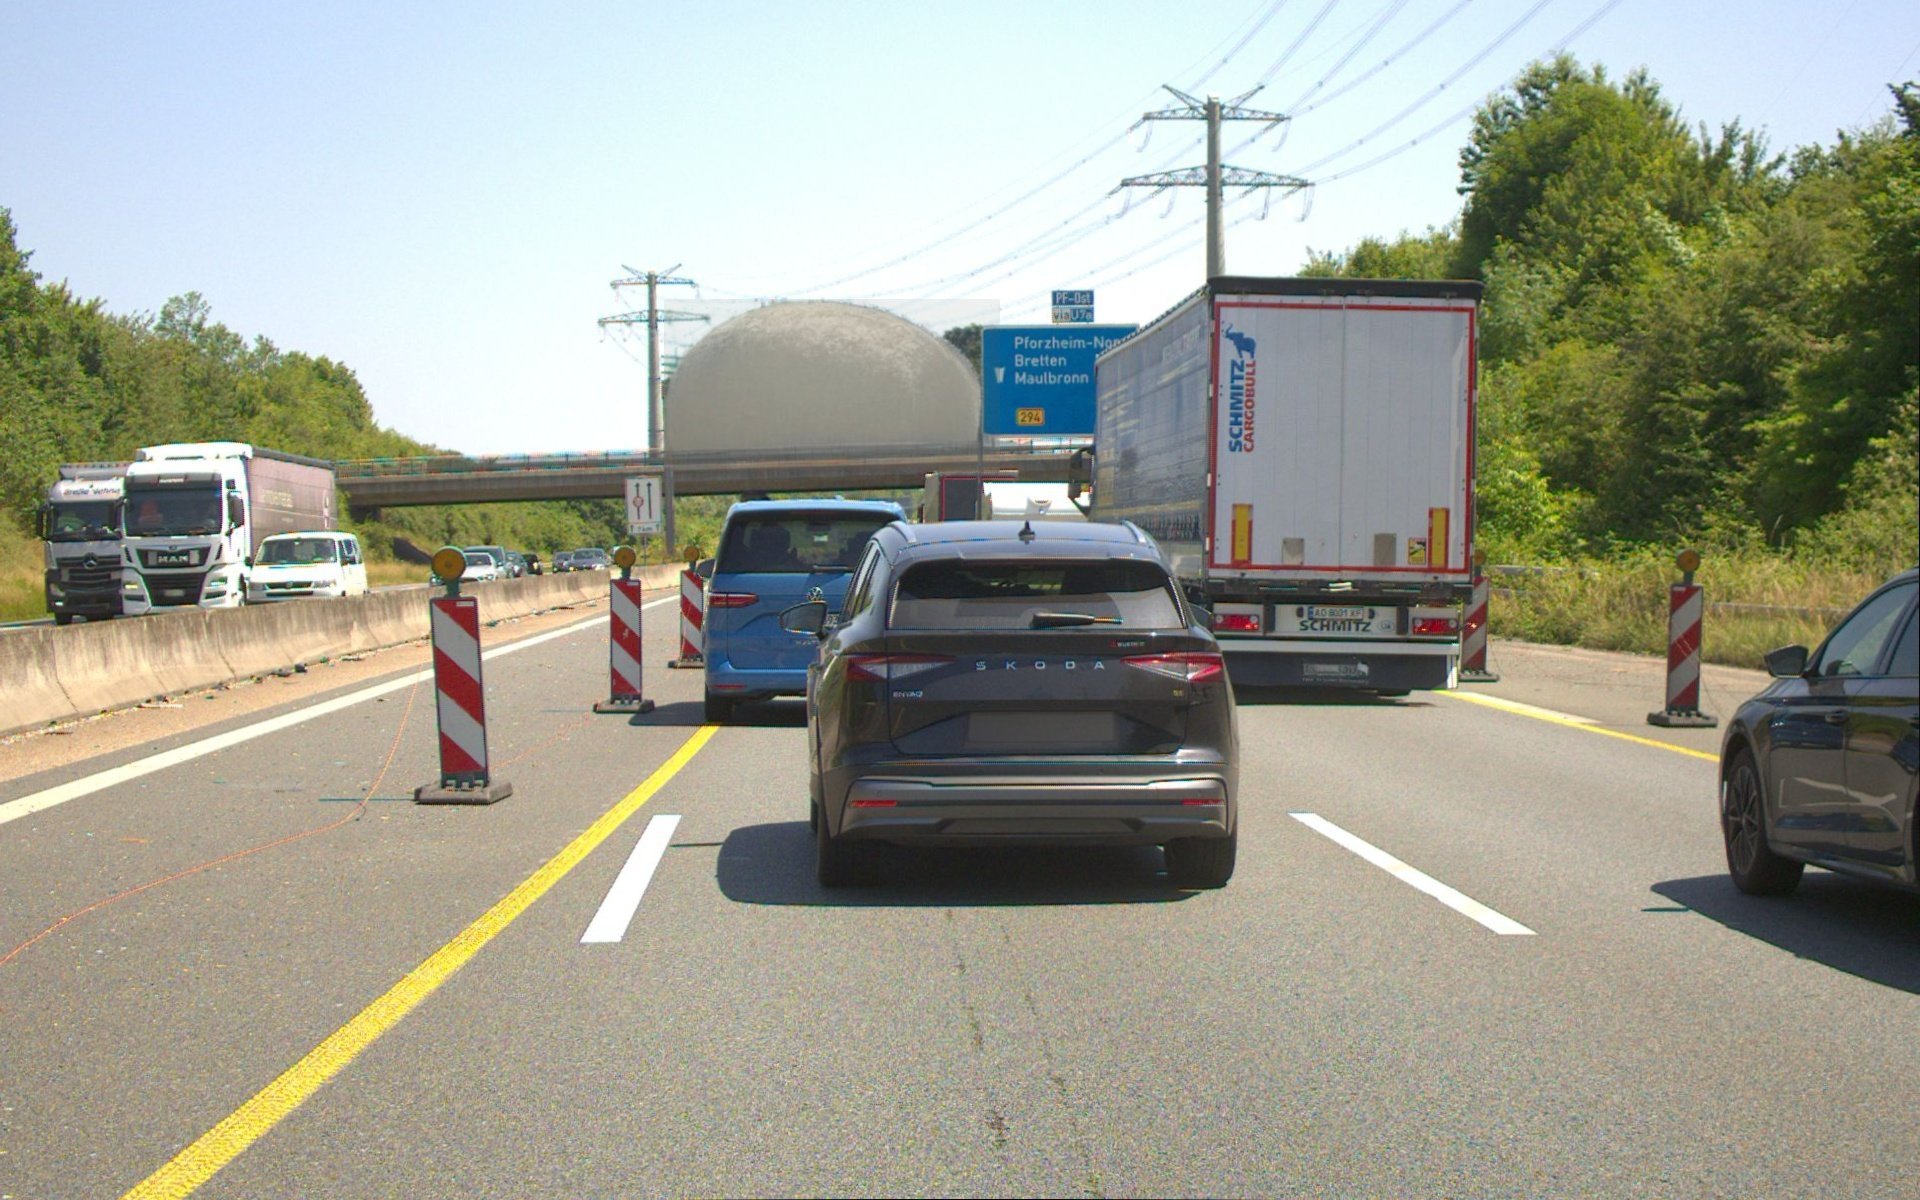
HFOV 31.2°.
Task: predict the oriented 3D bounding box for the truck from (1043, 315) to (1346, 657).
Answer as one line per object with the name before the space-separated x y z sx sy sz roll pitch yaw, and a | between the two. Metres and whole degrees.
truck | 2.900 -1.440 44.969 3.024 4.073 7.796 0 1 -3

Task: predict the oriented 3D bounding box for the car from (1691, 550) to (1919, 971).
car | 4.274 0.572 13.291 1.779 1.484 4.464 1 1 -2

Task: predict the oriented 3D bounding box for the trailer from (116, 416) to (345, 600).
trailer | -17.922 -2.249 85.581 3.160 4.165 13.686 -1 1 -2

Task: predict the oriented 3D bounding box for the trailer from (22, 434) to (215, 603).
trailer | -22.239 -2.147 91.563 2.480 4.165 12.087 -1 1 -2

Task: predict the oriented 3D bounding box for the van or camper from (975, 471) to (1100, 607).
van or camper | 1.753 -1.436 80.351 2.586 2.958 6.085 2 1 -1

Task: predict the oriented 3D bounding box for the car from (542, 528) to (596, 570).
car | -16.518 -2.148 145.335 1.842 1.708 4.396 -1 1 -1

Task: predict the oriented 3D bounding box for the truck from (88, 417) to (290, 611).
truck | -17.693 -1.969 79.369 3.163 4.210 7.416 -1 1 -2

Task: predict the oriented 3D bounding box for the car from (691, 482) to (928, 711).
car | -1.327 -0.039 30.288 1.895 1.835 4.443 1 0 -3

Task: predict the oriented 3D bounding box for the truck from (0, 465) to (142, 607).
truck | -21.947 -1.568 83.880 2.464 3.277 6.925 -1 1 -2

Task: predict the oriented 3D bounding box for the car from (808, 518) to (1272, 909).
car | 0.231 0.412 16.288 1.895 1.586 4.443 0 1 -3

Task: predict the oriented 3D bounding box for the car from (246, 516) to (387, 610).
car | -12.936 -0.765 69.390 1.866 1.786 5.455 -1 1 -1

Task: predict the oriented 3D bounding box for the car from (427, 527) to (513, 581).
car | -13.849 -1.320 97.364 1.762 1.466 4.634 -1 1 0

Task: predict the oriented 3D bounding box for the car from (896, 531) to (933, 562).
car | -2.548 -3.011 191.750 1.895 1.504 4.443 2 3 -3

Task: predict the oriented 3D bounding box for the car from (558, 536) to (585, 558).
car | -27.578 -3.790 244.111 1.499 1.543 4.000 -1 1 -1

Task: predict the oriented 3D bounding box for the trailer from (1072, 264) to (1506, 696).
trailer | 3.264 -1.237 37.893 3.065 4.028 11.489 0 1 -3

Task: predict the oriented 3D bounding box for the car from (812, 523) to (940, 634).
car | -1.369 -0.376 54.369 1.895 1.504 4.443 2 3 -3

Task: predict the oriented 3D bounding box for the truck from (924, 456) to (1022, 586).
truck | 0.357 -2.666 117.428 3.077 4.132 13.055 1 1 -1
